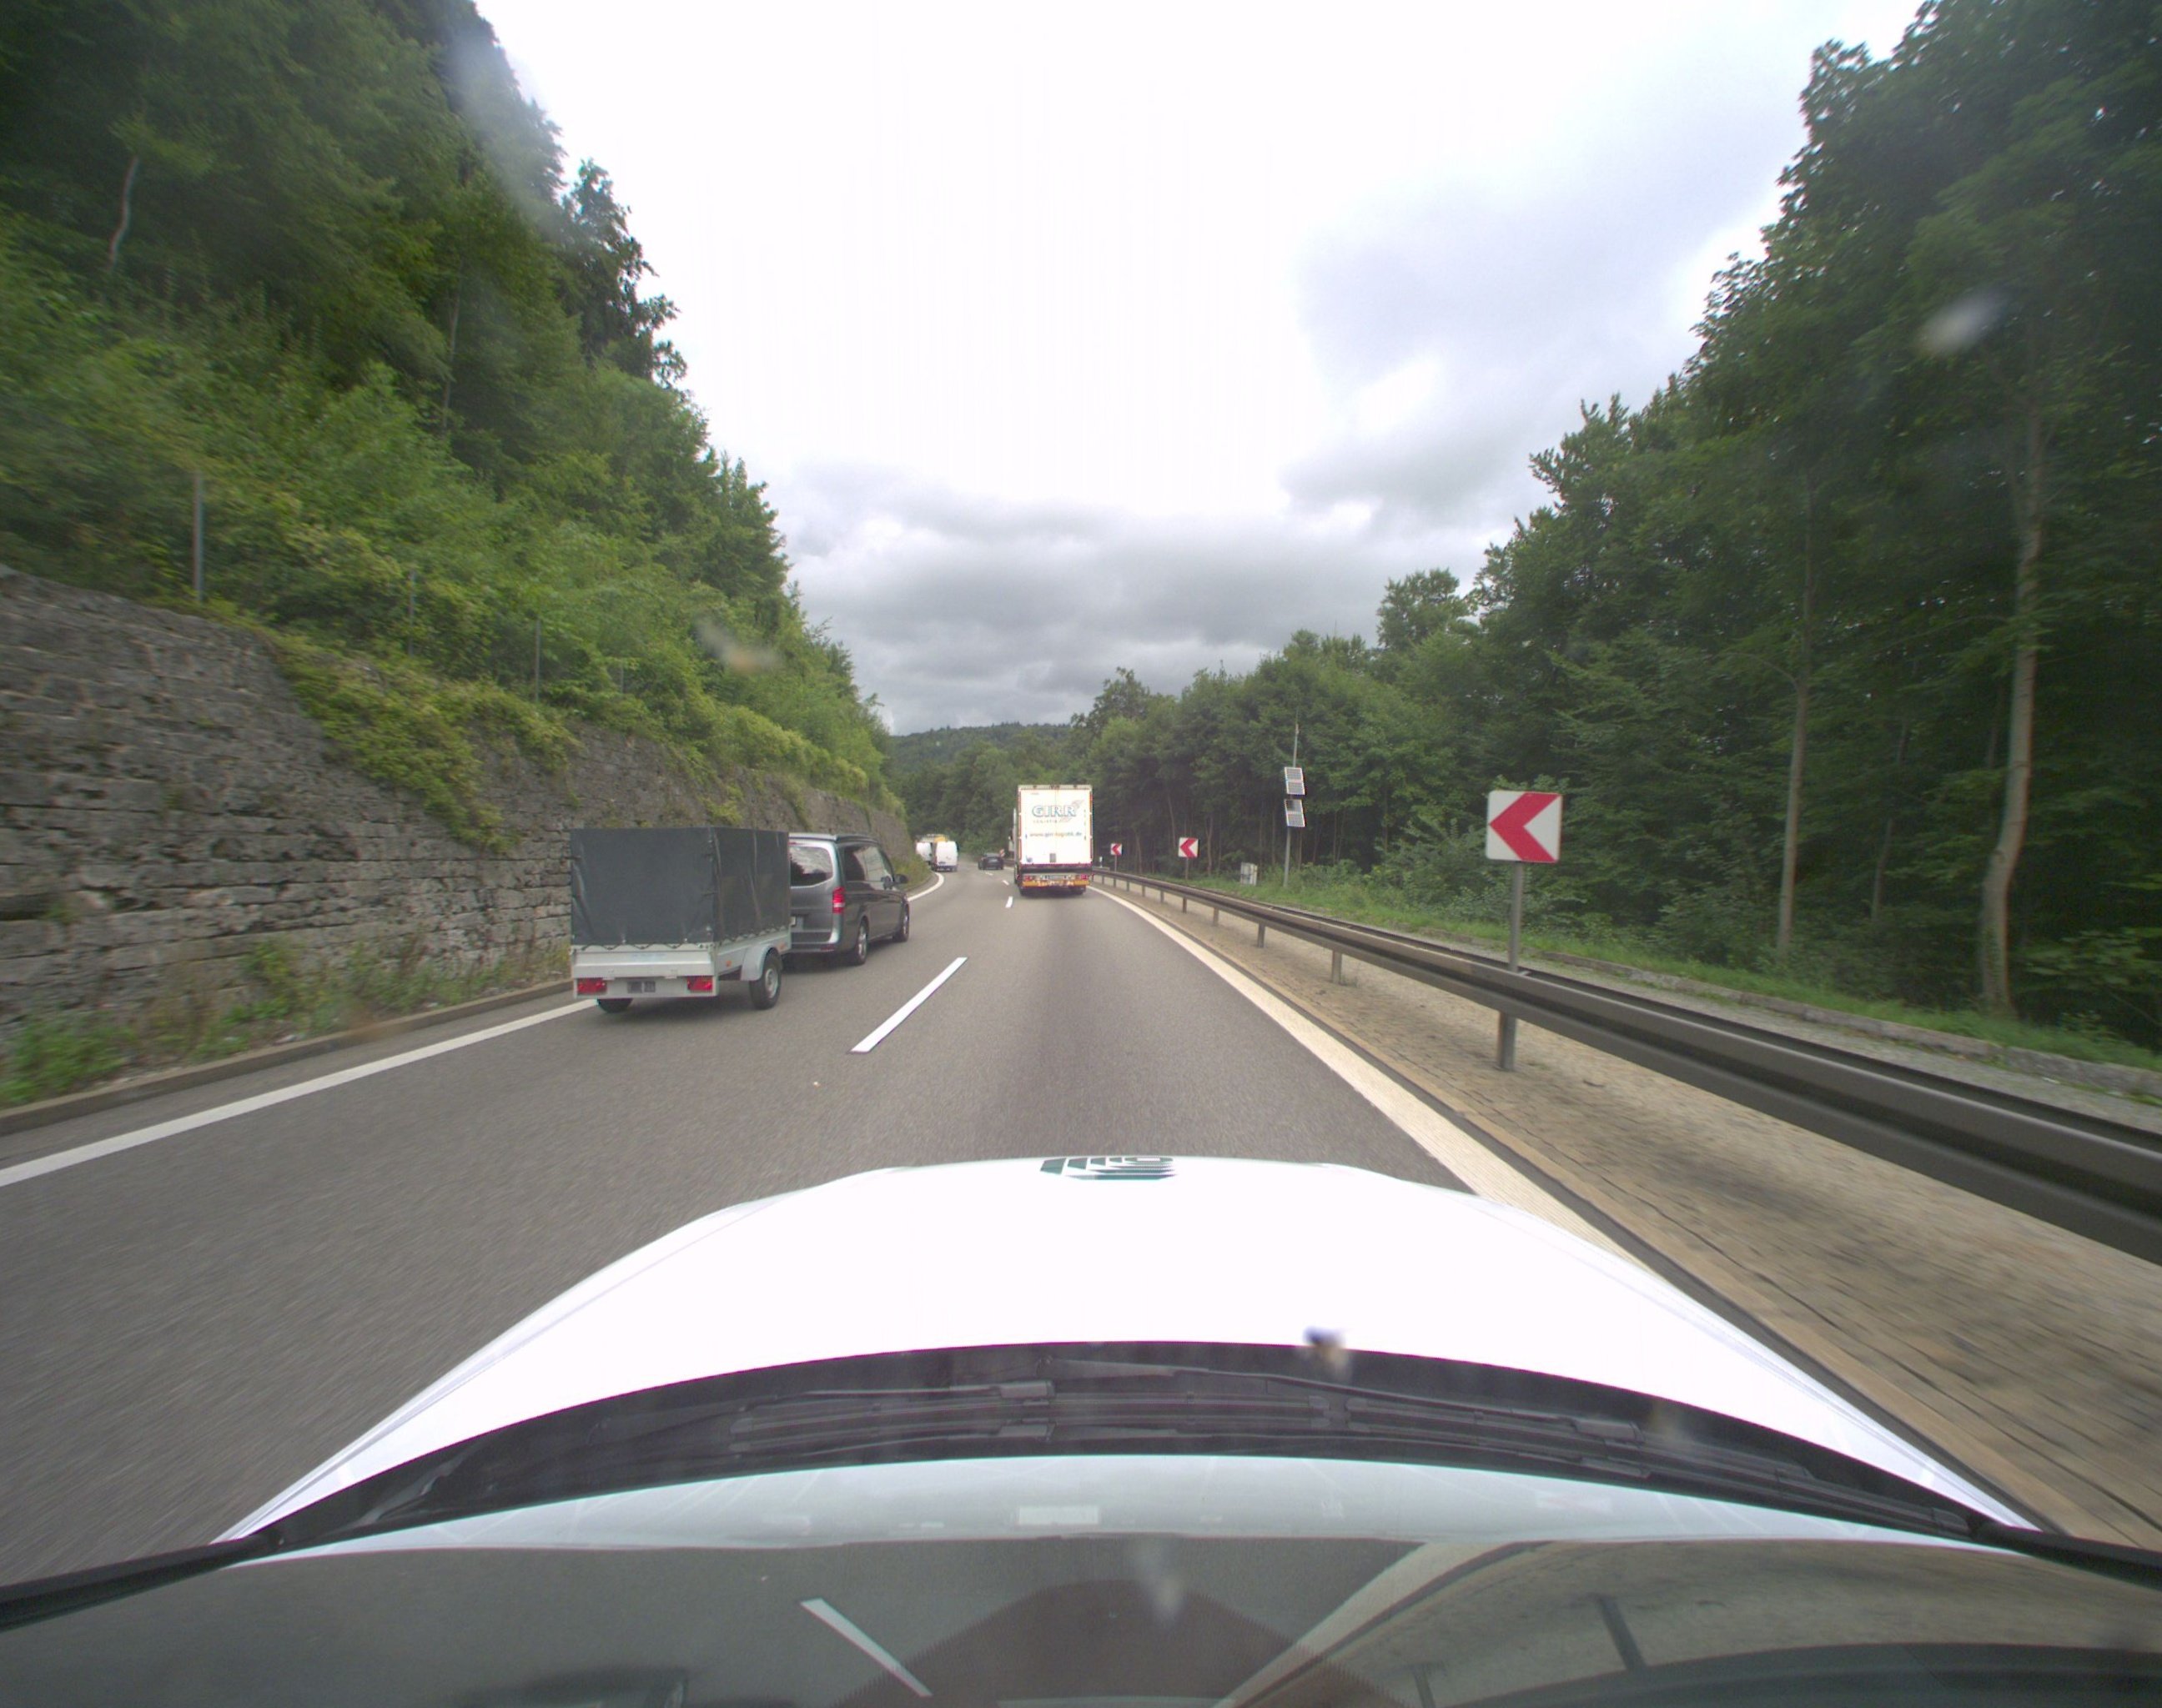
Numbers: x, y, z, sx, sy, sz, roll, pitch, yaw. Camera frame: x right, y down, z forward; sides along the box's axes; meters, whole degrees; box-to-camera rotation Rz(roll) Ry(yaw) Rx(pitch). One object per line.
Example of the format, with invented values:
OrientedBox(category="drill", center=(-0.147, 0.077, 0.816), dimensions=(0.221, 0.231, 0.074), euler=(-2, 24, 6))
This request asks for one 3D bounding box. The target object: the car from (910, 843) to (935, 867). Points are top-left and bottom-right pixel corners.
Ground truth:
OrientedBox(category="car", center=(-18.783, 0.104, 96.244), dimensions=(1.946, 2.672, 5.952), euler=(2, 0, -19))

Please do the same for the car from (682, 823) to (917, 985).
OrientedBox(category="car", center=(-4.112, 0.624, 13.055), dimensions=(1.988, 2.013, 5.535), euler=(-1, 0, -2))

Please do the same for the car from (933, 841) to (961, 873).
OrientedBox(category="car", center=(-12.067, 0.233, 73.017), dimensions=(1.991, 2.672, 6.905), euler=(2, 0, -13))

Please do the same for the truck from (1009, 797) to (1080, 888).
OrientedBox(category="truck", center=(-1.960, -0.606, 40.253), dimensions=(3.053, 3.985, 7.175), euler=(2, 1, -5))

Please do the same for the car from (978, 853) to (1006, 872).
OrientedBox(category="car", center=(-8.259, 0.726, 75.405), dimensions=(1.996, 1.662, 3.981), euler=(2, 0, -14))

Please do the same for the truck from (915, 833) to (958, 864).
OrientedBox(category="truck", center=(-20.206, -0.727, 112.704), dimensions=(3.070, 3.986, 13.597), euler=(-2, 1, -22))

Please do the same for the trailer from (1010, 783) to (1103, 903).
OrientedBox(category="trailer", center=(-1.372, -0.526, 33.858), dimensions=(3.053, 3.985, 12.116), euler=(2, 1, -5))

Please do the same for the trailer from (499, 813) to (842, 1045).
OrientedBox(category="trailer", center=(-3.989, 0.628, 8.652), dimensions=(1.966, 1.939, 3.427), euler=(-1, 0, -2))
